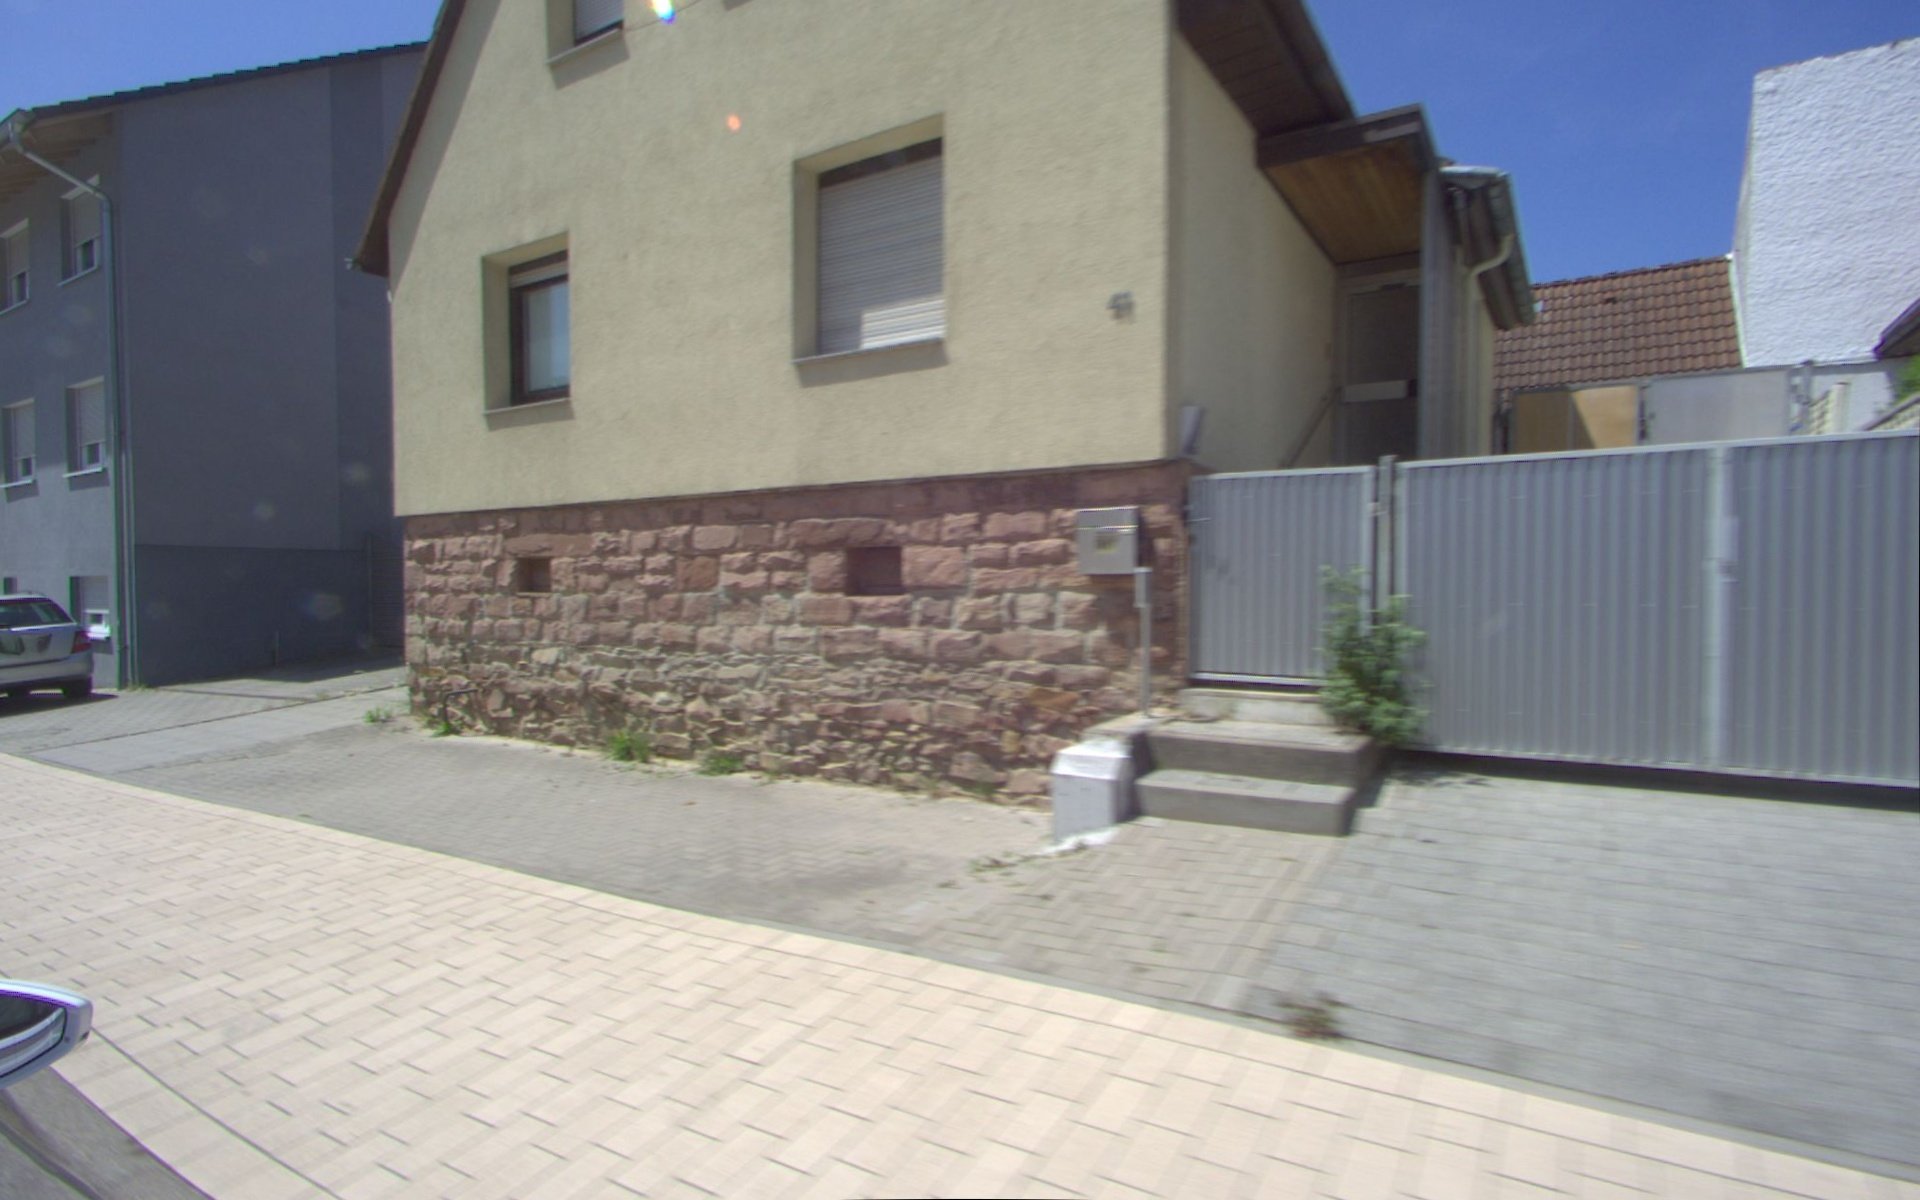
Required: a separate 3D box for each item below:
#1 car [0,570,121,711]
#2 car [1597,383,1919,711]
[{"bbox_3d":[-13.039,0.523,13.173,4.457,1.563,1.784,-1,6,34],"label":"car"},{"bbox_3d":[5.664,-0.226,7.232,1.666,1.728,3.982,0,-1,31],"label":"car"}]
